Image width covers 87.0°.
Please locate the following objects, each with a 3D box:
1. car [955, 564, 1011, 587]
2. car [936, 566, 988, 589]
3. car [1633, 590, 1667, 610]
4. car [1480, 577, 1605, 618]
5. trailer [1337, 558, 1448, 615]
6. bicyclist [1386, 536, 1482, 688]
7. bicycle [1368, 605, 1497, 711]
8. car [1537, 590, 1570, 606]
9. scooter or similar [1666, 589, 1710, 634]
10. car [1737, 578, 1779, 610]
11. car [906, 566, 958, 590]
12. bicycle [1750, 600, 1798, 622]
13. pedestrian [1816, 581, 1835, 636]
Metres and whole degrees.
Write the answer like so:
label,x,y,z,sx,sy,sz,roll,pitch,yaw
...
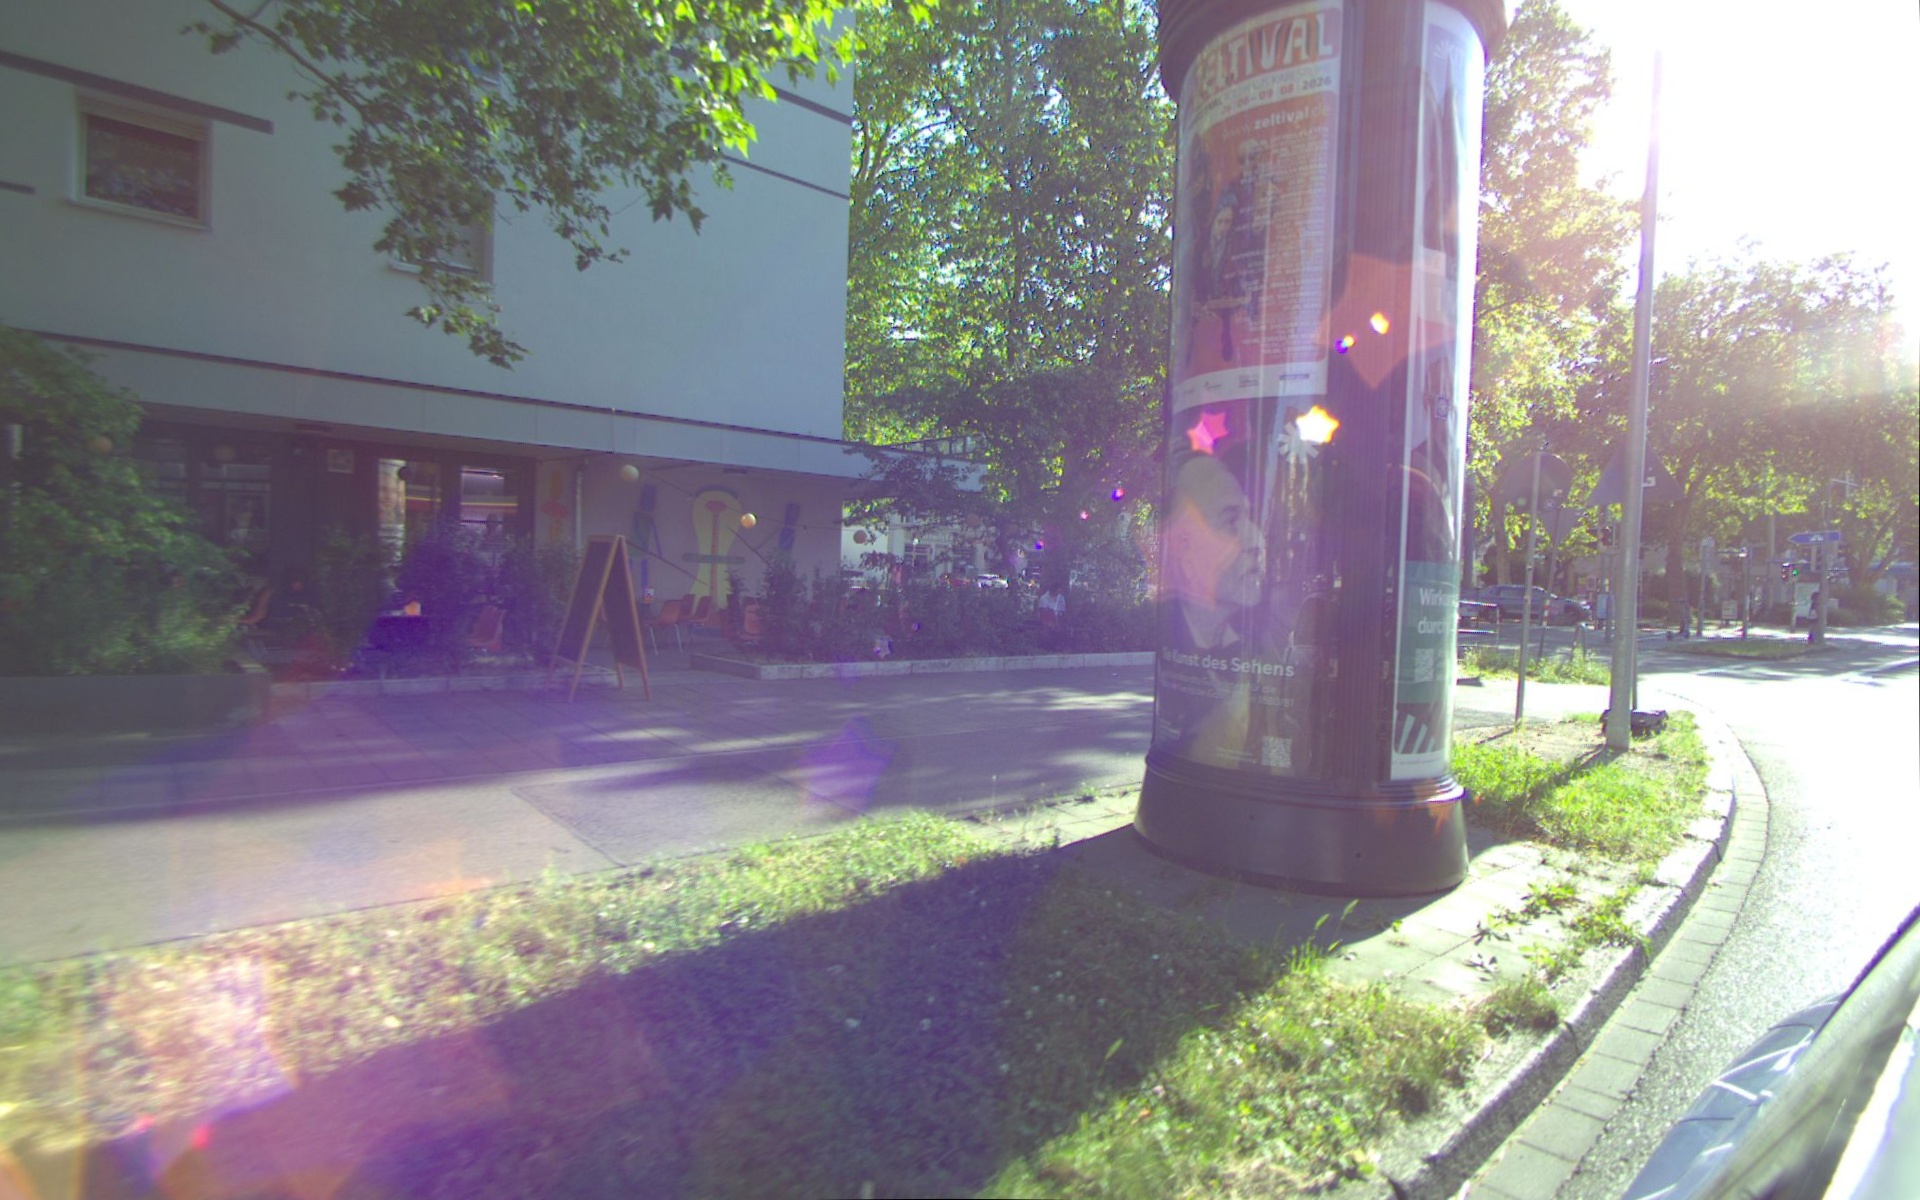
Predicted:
label,x,y,z,sx,sy,sz,roll,pitch,yaw
car,1.774,-1.942,79.174,1.702,1.498,4.343,0,4,-45
car,0.126,-1.757,77.352,1.788,1.498,4.357,1,4,-34
car,65.177,0.007,95.622,4.109,1.680,1.804,2,1,-43
car,24.855,-0.119,43.379,4.538,1.661,1.917,1,0,28
trailer,19.743,-0.635,46.267,4.475,2.403,1.895,3,1,28
bicyclist,5.130,0.114,10.942,0.845,1.570,0.604,1,2,-41
bicycle,5.150,0.592,10.983,1.736,1.039,0.604,0,2,-42
car,59.409,-0.206,101.252,4.109,1.521,1.708,2,1,-43
scooter or similar,21.433,0.339,29.803,1.264,1.272,0.563,1,3,-32
car,70.064,-0.517,88.835,4.631,2.777,1.997,0,0,-40
car,-2.149,-1.674,75.827,1.788,1.498,4.357,1,4,-34
bicycle,41.821,0.538,52.028,1.805,1.067,0.530,2,0,24
pedestrian,26.926,0.263,31.484,0.427,1.660,0.604,1,0,42
